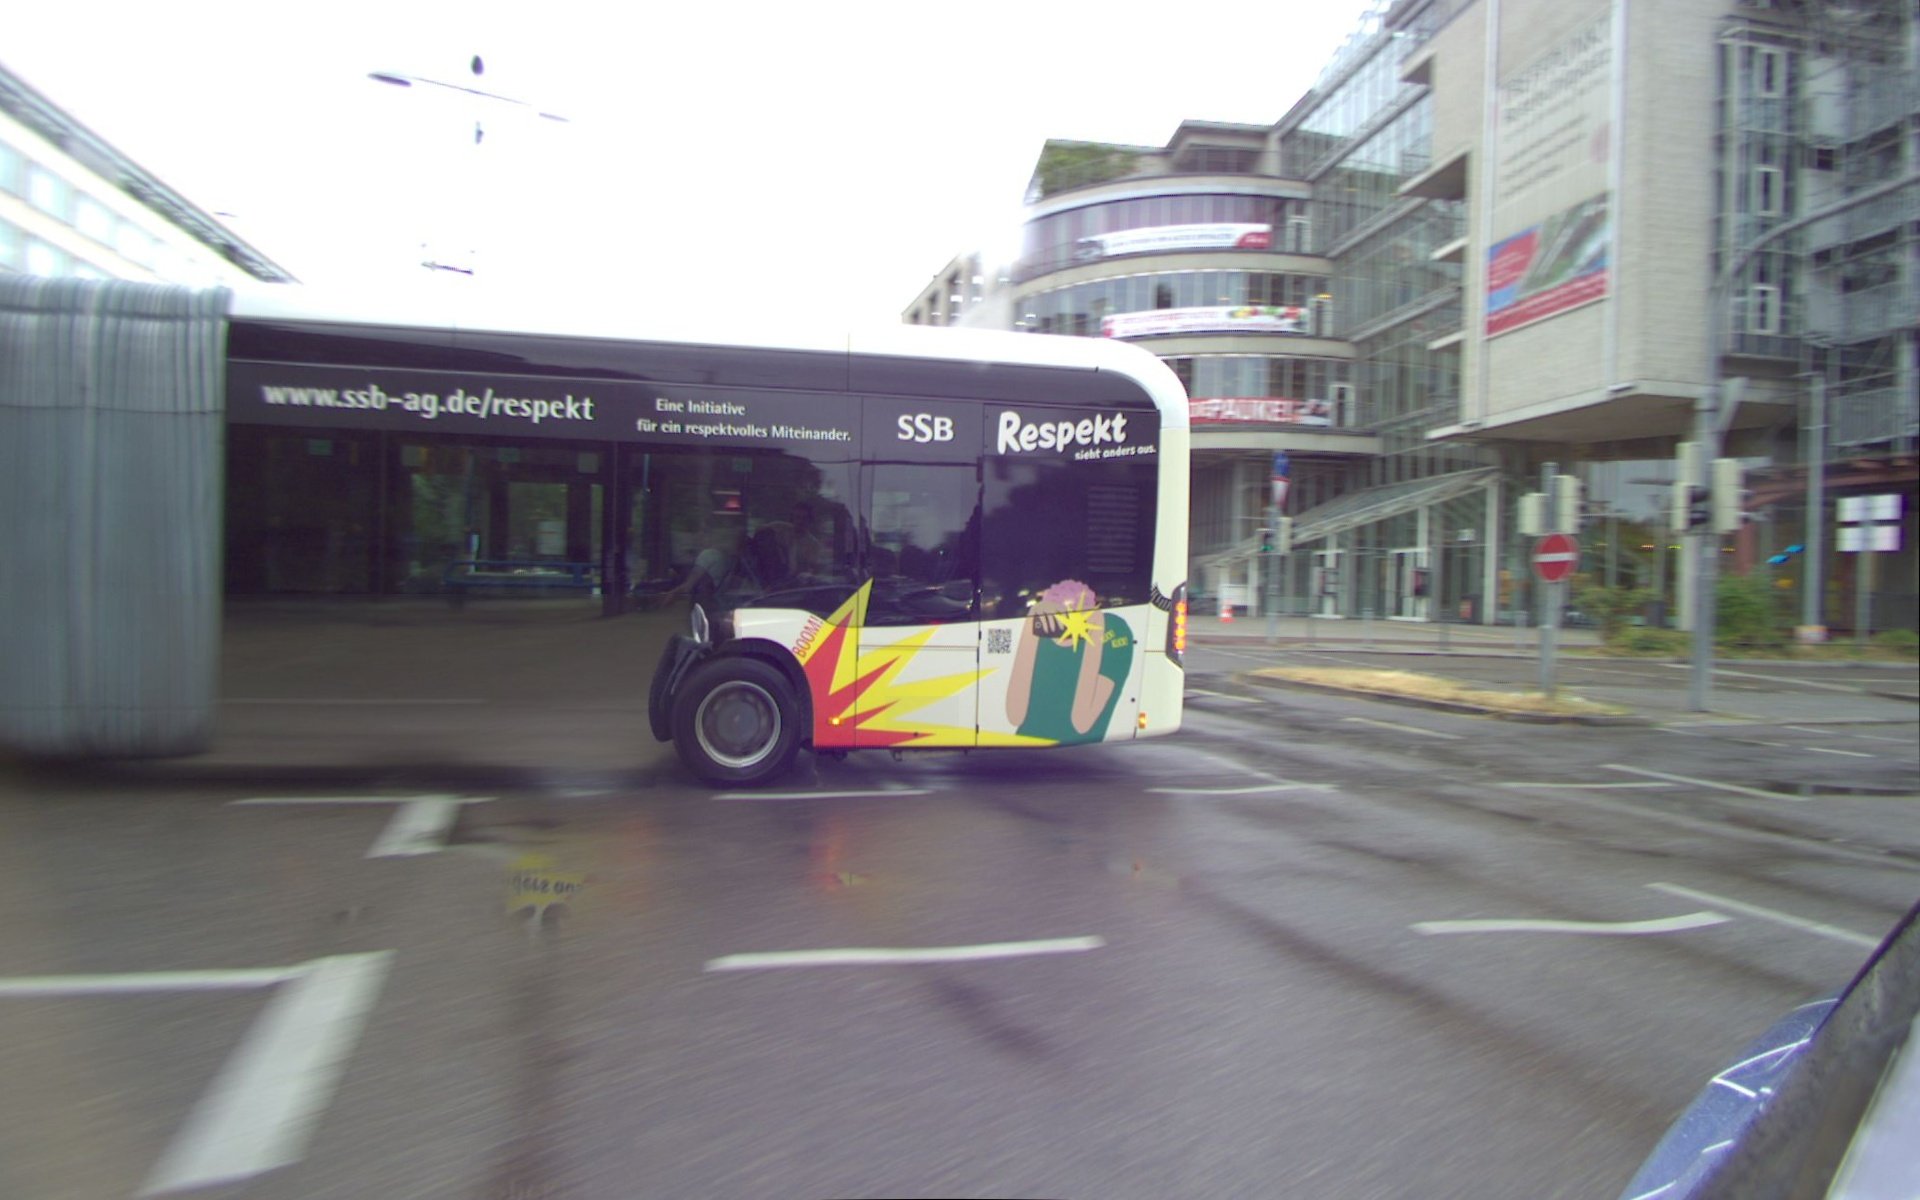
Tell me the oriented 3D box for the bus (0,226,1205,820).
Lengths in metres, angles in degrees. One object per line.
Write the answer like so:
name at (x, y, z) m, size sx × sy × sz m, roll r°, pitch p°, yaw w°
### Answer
bus at (-2.354, -0.502, 8.099) m, size 7.922 × 3.633 × 2.691 m, roll 0°, pitch 1°, yaw -9°

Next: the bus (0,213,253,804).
bus at (-10.984, -0.584, 6.748) m, size 10.109 × 3.633 × 2.691 m, roll 0°, pitch 1°, yaw -9°
